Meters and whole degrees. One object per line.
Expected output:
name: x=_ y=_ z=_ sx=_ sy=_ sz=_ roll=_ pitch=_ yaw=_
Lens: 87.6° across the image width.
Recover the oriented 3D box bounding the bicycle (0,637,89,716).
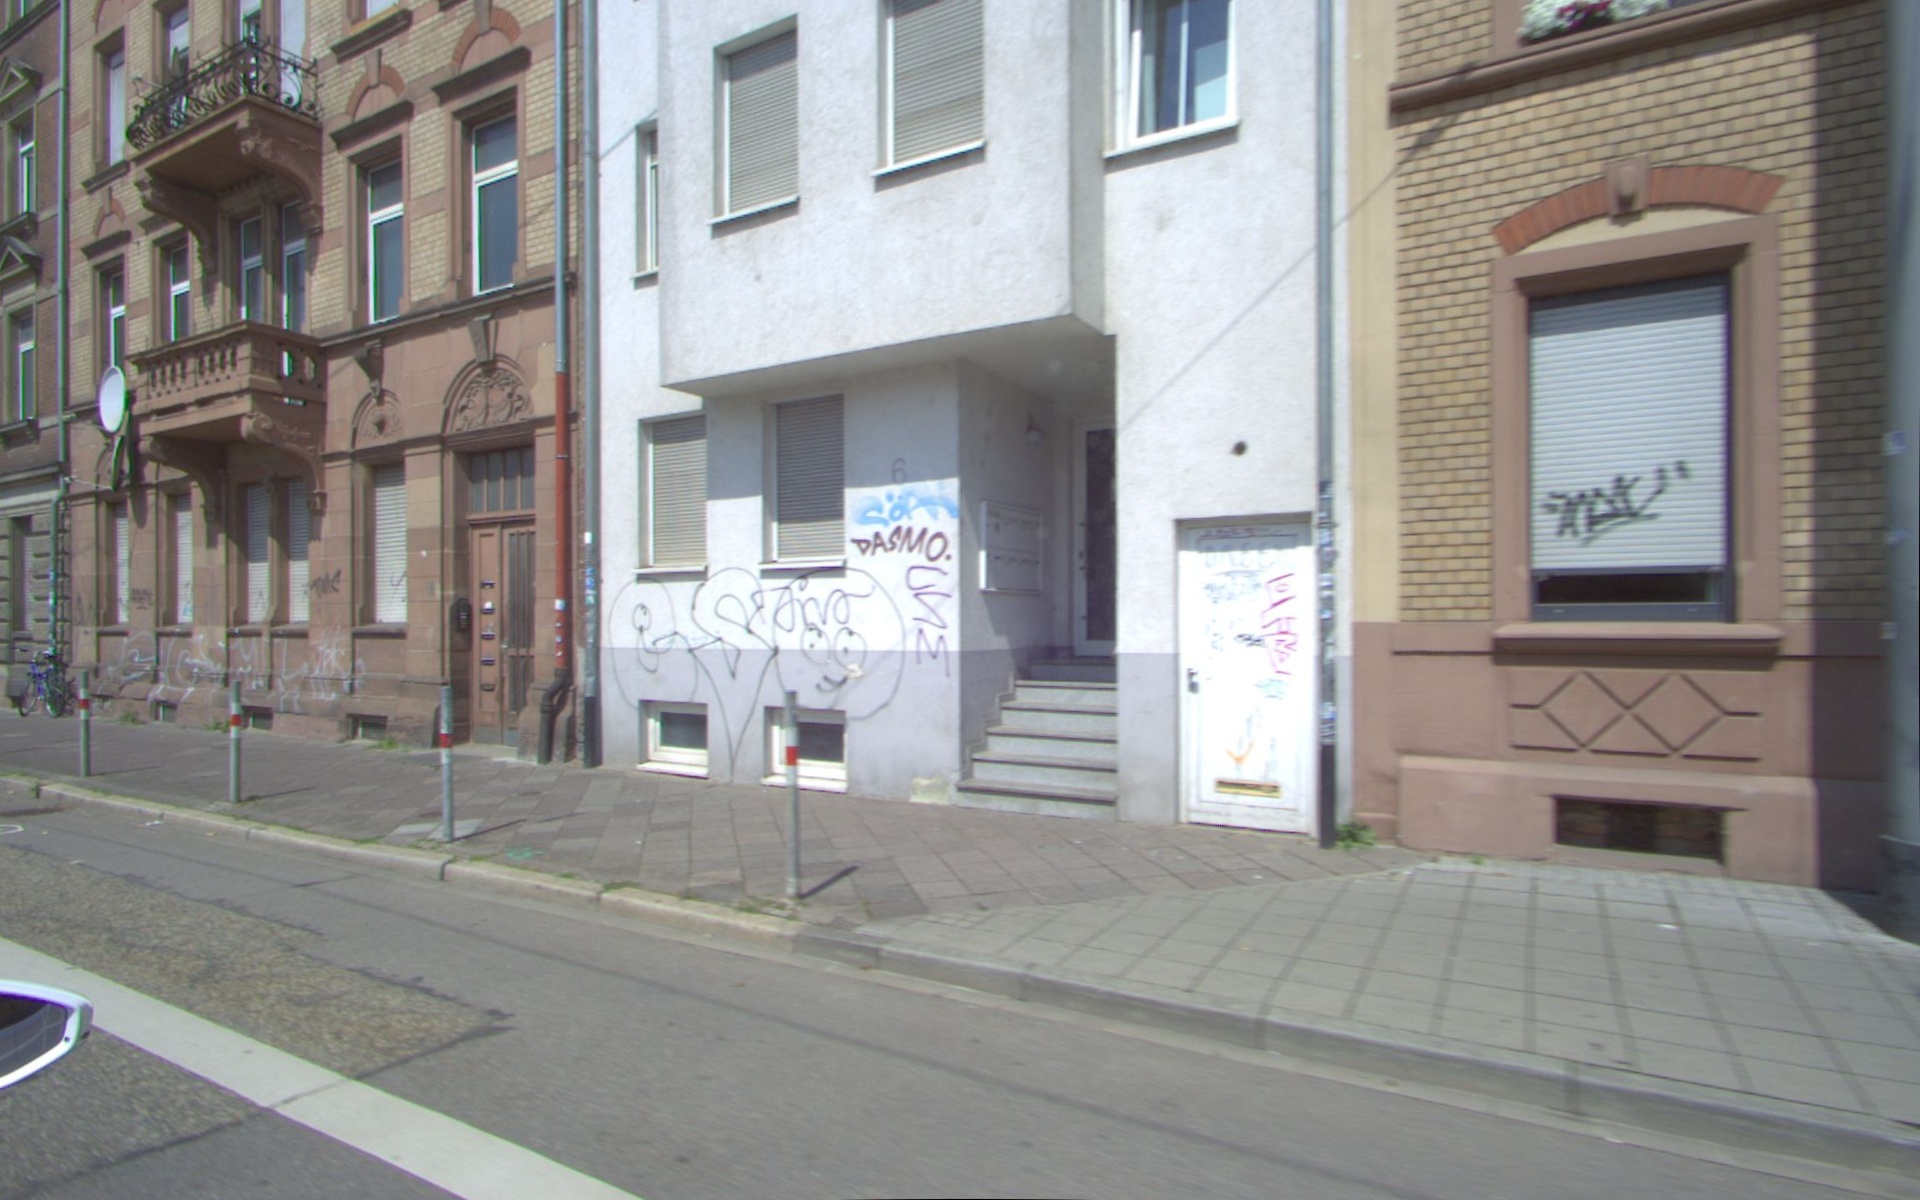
bicycle: x=-14.965 y=1.213 z=16.288 sx=2.173 sy=1.193 sz=0.585 roll=-1 pitch=0 yaw=32
